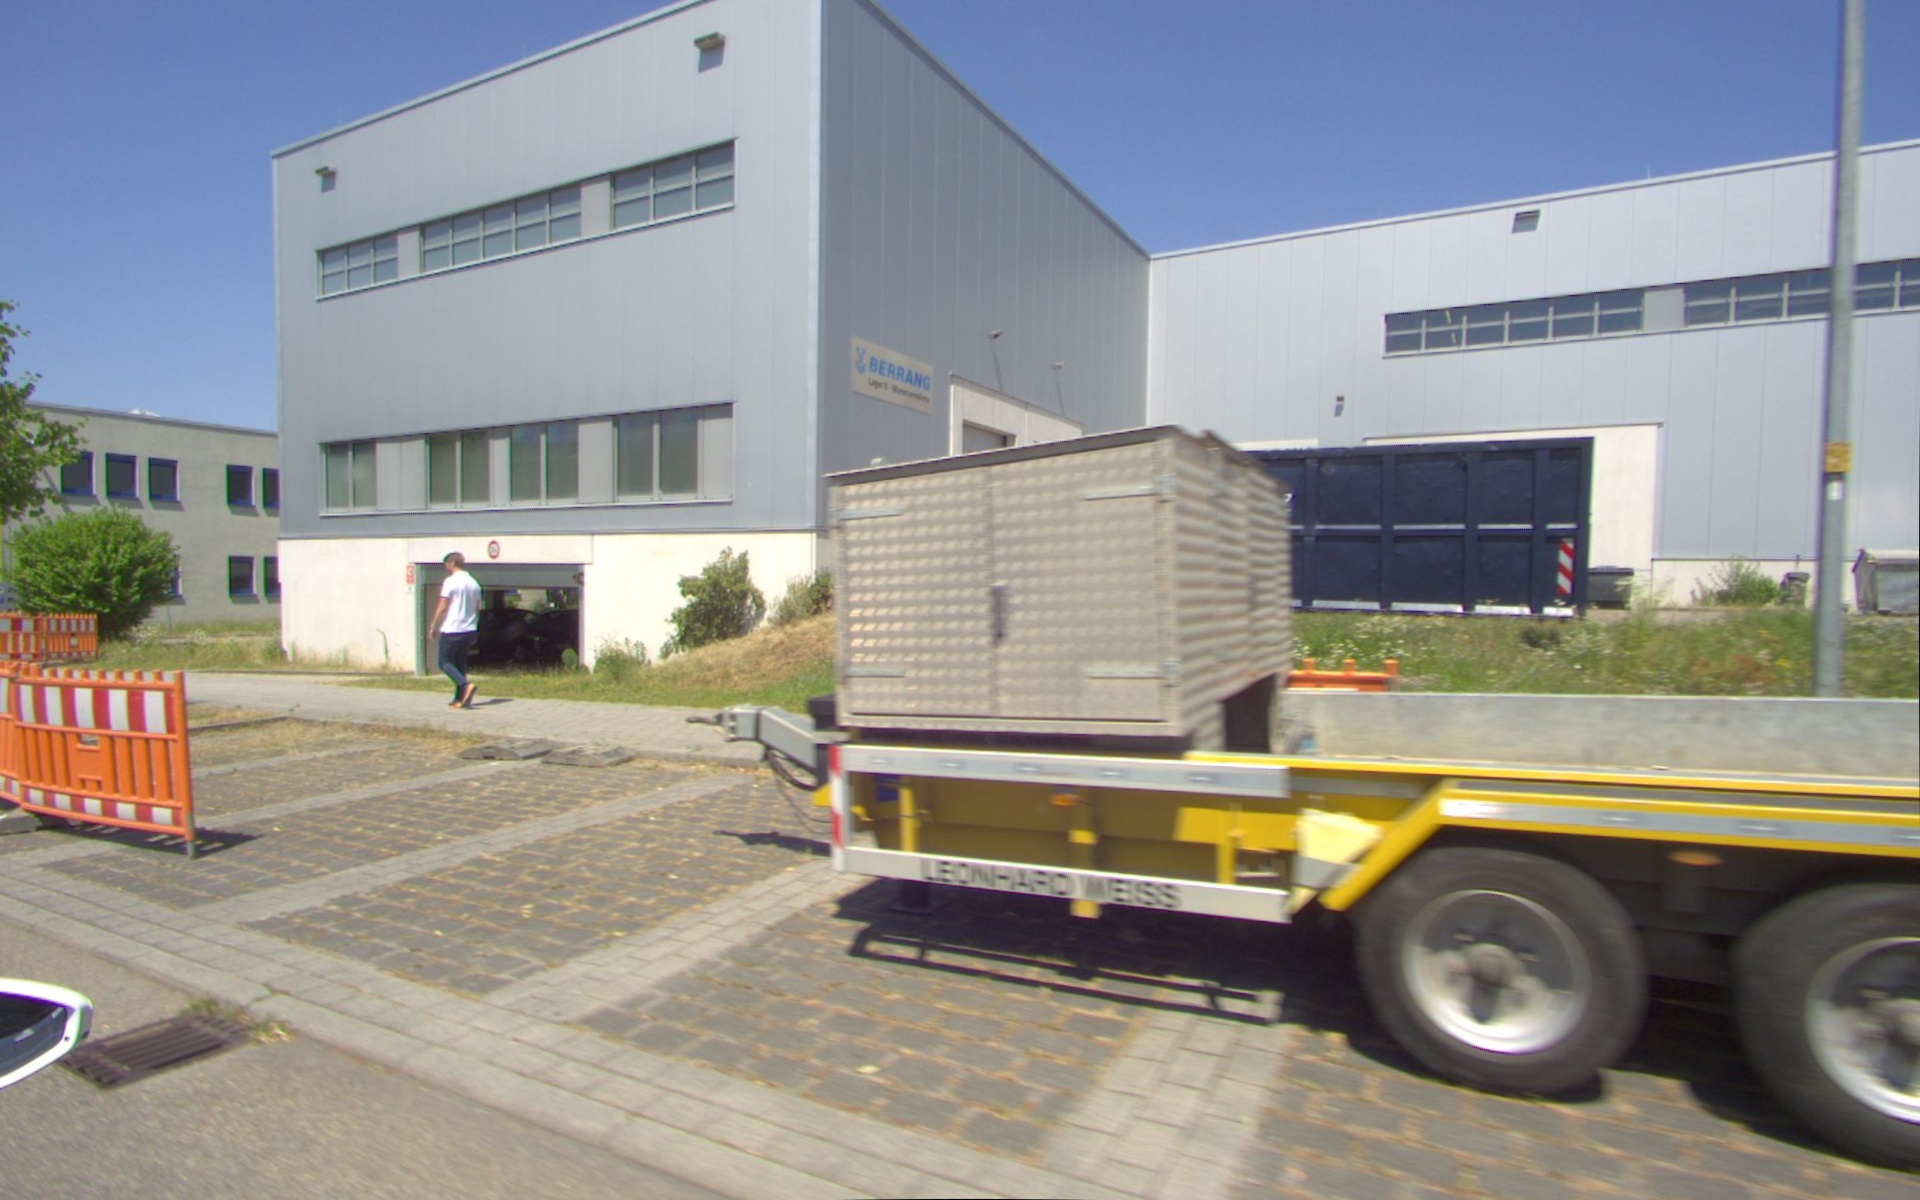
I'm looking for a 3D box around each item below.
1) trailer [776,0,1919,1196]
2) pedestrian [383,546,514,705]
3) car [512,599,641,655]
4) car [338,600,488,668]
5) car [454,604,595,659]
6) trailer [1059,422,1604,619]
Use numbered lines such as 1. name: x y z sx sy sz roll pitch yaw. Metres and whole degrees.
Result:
1. trailer: 2.336 -0.043 3.814 5.431 2.896 2.654 0 2 26
2. pedestrian: -6.418 0.302 12.604 1.192 1.914 0.864 1 1 14
3. car: -12.381 0.832 32.278 3.941 1.473 1.878 4 3 32
4. car: -14.592 0.842 26.662 3.941 1.473 1.822 4 3 32
5. car: -12.677 0.909 29.085 3.943 1.496 1.879 -1 -1 32
6. trailer: 5.475 -1.181 15.547 7.299 2.453 2.656 4 1 30
